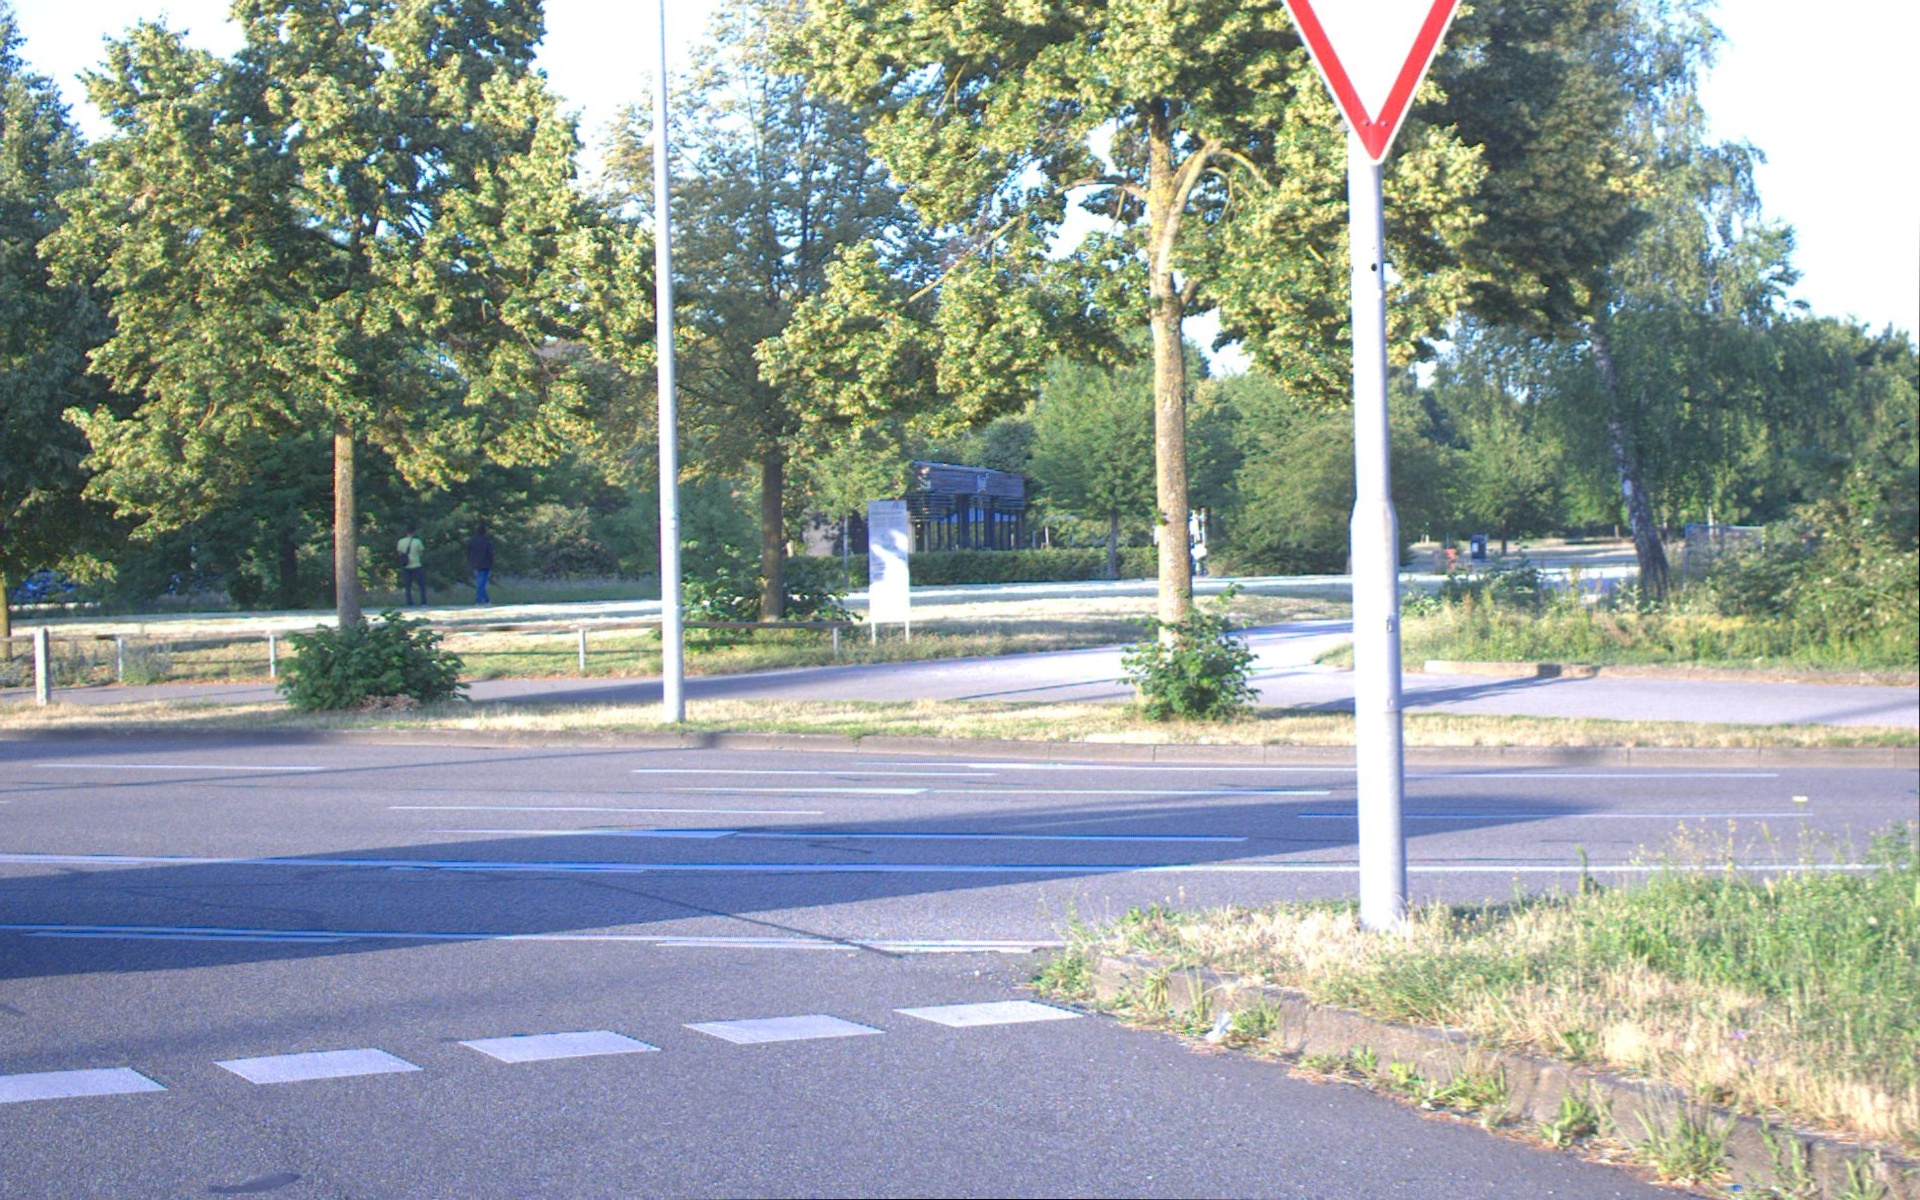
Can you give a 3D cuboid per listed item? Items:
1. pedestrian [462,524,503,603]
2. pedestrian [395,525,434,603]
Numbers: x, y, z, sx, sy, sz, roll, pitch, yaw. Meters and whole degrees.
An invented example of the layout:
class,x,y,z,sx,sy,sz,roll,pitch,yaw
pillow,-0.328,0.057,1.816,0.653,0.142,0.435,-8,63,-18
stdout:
class,x,y,z,sx,sy,sz,roll,pitch,yaw
pedestrian,-9.961,-0.760,71.734,0.618,1.621,0.530,-2,1,-39
pedestrian,-11.411,-0.750,71.952,0.579,1.621,0.533,-2,1,-38
